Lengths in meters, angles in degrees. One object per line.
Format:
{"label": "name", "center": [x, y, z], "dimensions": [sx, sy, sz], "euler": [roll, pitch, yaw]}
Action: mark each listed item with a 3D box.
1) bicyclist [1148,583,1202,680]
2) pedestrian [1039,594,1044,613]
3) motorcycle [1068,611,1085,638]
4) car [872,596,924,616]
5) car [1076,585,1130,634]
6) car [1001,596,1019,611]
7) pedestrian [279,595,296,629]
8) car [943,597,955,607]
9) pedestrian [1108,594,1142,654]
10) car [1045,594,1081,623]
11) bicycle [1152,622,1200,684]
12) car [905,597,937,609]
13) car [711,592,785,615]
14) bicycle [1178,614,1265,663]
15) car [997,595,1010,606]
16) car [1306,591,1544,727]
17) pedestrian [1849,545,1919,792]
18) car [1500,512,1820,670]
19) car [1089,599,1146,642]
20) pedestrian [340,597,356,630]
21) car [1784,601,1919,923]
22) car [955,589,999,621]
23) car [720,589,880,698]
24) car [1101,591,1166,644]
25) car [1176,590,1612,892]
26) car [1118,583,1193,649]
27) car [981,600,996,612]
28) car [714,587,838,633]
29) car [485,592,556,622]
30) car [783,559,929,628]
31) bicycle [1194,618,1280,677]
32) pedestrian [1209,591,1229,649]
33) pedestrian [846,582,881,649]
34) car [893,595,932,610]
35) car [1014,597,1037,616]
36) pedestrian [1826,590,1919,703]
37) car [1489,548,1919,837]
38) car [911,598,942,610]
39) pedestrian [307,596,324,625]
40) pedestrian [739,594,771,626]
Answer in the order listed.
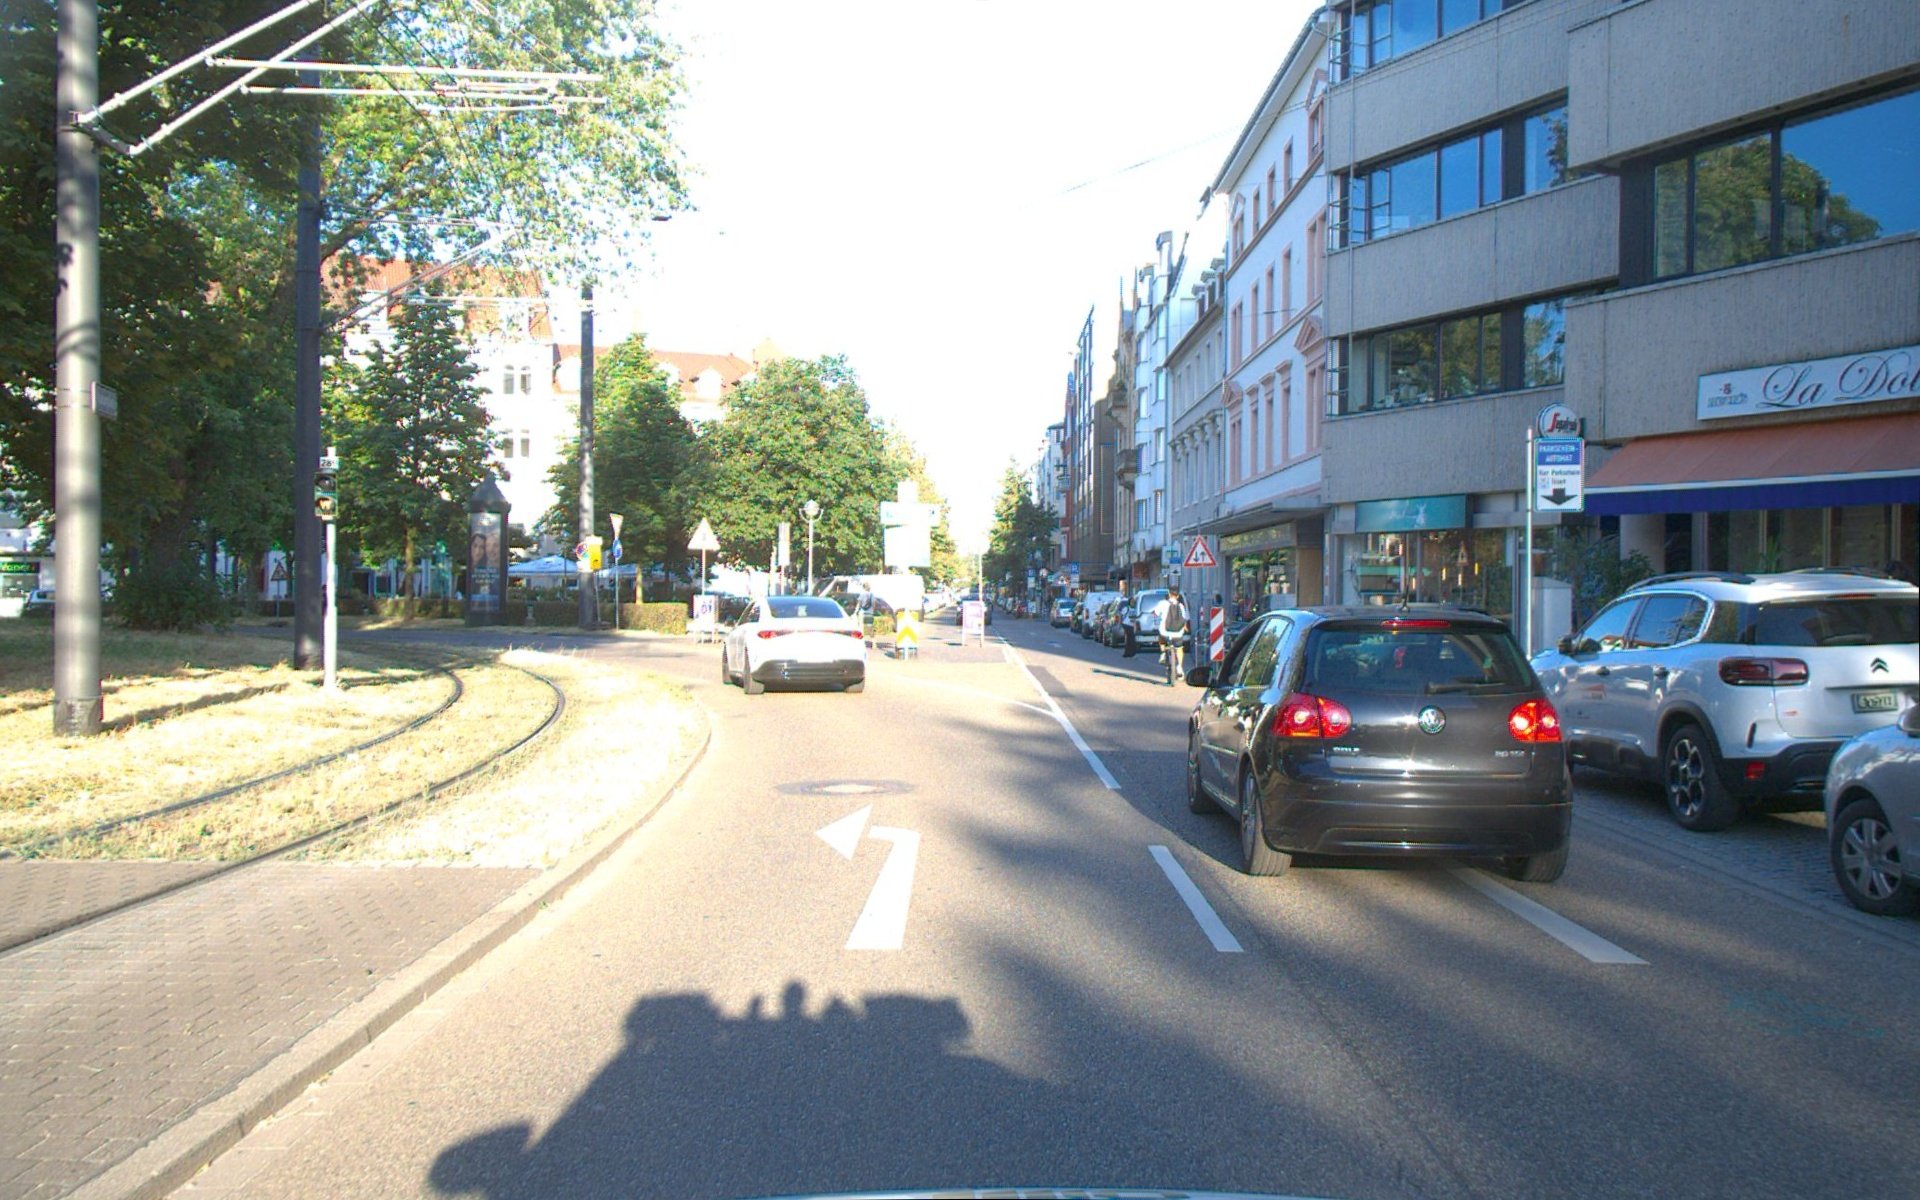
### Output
{"label": "bicyclist", "center": [3.742, 0.533, 28.819], "dimensions": [0.761, 1.646, 1.025], "euler": [1, 0, -1]}
{"label": "pedestrian", "center": [8.613, 0.335, 174.519], "dimensions": [0.520, 1.957, 0.541], "euler": [1, 0, -2]}
{"label": "motorcycle", "center": [5.348, 1.123, 75.891], "dimensions": [0.477, 1.195, 1.605], "euler": [-2, 1, -7]}
{"label": "car", "center": [-4.331, 0.411, 115.134], "dimensions": [3.322, 1.310, 1.666], "euler": [1, 0, -16]}
{"label": "car", "center": [5.734, 0.364, 66.787], "dimensions": [1.885, 1.873, 4.018], "euler": [-1, 0, 1]}
{"label": "car", "center": [5.229, 0.394, 172.578], "dimensions": [1.716, 1.537, 3.544], "euler": [-1, 0, -1]}
{"label": "pedestrian", "center": [-31.035, 0.548, 76.338], "dimensions": [0.524, 1.524, 0.659], "euler": [1, 0, -7]}
{"label": "car", "center": [-1.525, 0.308, 234.637], "dimensions": [1.632, 1.310, 3.390], "euler": [1, 1, 1]}
{"label": "pedestrian", "center": [4.404, 0.634, 44.167], "dimensions": [0.721, 1.582, 0.631], "euler": [1, 0, 27]}
{"label": "car", "center": [5.759, 0.460, 92.850], "dimensions": [1.716, 1.537, 3.544], "euler": [-1, 0, -1]}
{"label": "bicycle", "center": [3.759, 0.912, 28.873], "dimensions": [0.567, 1.004, 1.935], "euler": [1, 0, 0]}
{"label": "car", "center": [-4.443, 0.367, 187.497], "dimensions": [3.322, 1.310, 1.666], "euler": [1, 0, -16]}
{"label": "car", "center": [-12.365, 0.202, 96.491], "dimensions": [3.933, 1.324, 1.840], "euler": [1, 0, -23]}
{"label": "bicycle", "center": [5.896, 0.878, 37.331], "dimensions": [1.812, 1.063, 0.580], "euler": [-1, 1, 31]}
{"label": "car", "center": [6.456, 0.063, 245.675], "dimensions": [1.716, 1.537, 3.544], "euler": [-1, 0, -1]}
{"label": "car", "center": [5.630, 0.653, 20.493], "dimensions": [1.629, 1.466, 3.820], "euler": [-2, 0, -4]}
{"label": "pedestrian", "center": [7.124, 0.488, 12.345], "dimensions": [0.567, 1.790, 0.662], "euler": [-2, 0, 1]}
{"label": "car", "center": [11.960, -0.185, 28.200], "dimensions": [5.251, 2.485, 2.075], "euler": [-1, 0, -26]}
{"label": "car", "center": [5.692, 0.716, 60.207], "dimensions": [1.699, 1.488, 3.585], "euler": [-1, 0, 0]}
{"label": "pedestrian", "center": [-28.359, 0.622, 76.636], "dimensions": [0.524, 1.524, 0.659], "euler": [1, 0, -7]}
{"label": "car", "center": [5.264, 0.750, 7.009], "dimensions": [1.628, 1.466, 3.855], "euler": [-2, 0, 1]}
{"label": "car", "center": [1.019, 0.265, 96.550], "dimensions": [1.951, 1.803, 4.004], "euler": [1, 1, 9]}
{"label": "car", "center": [-2.604, 0.611, 26.073], "dimensions": [1.834, 1.466, 4.180], "euler": [-1, 2, -15]}
{"label": "car", "center": [5.655, 0.562, 54.222], "dimensions": [1.699, 1.645, 3.916], "euler": [-1, 0, 0]}
{"label": "car", "center": [2.443, 0.698, 10.347], "dimensions": [1.711, 1.486, 4.104], "euler": [1, 0, 1]}
{"label": "car", "center": [5.723, 0.443, 48.792], "dimensions": [1.699, 1.831, 3.916], "euler": [-1, 0, 0]}
{"label": "car", "center": [3.265, 0.691, 189.754], "dimensions": [1.633, 1.310, 3.388], "euler": [1, 1, -2]}
{"label": "car", "center": [-6.488, 0.348, 58.441], "dimensions": [3.950, 1.579, 1.857], "euler": [1, 0, -33]}
{"label": "car", "center": [-24.134, 0.370, 90.759], "dimensions": [3.563, 1.579, 1.651], "euler": [1, 0, -23]}
{"label": "car", "center": [-4.156, -0.236, 66.184], "dimensions": [5.444, 2.640, 2.136], "euler": [1, 0, -27]}
{"label": "bicycle", "center": [5.578, 0.949, 33.356], "dimensions": [1.573, 1.138, 0.610], "euler": [-1, 1, 34]}
{"label": "pedestrian", "center": [7.509, 0.577, 47.966], "dimensions": [0.491, 1.653, 0.496], "euler": [1, 0, 0]}
{"label": "pedestrian", "center": [-2.564, 0.395, 43.827], "dimensions": [0.843, 1.736, 0.940], "euler": [1, 0, -6]}
{"label": "car", "center": [-4.488, 0.218, 156.185], "dimensions": [3.322, 1.310, 1.666], "euler": [1, 0, -16]}
{"label": "car", "center": [5.549, 0.524, 140.107], "dimensions": [1.716, 1.537, 3.544], "euler": [-1, 0, -1]}
{"label": "pedestrian", "center": [10.894, 0.540, 19.750], "dimensions": [0.757, 1.304, 0.656], "euler": [-1, 0, -29]}
{"label": "car", "center": [5.713, 0.545, 12.487], "dimensions": [1.830, 1.743, 4.503], "euler": [-2, 0, -2]}
{"label": "car", "center": [-3.925, 0.416, 195.381], "dimensions": [3.322, 1.310, 1.666], "euler": [1, 0, -16]}
{"label": "pedestrian", "center": [-31.018, 0.493, 79.577], "dimensions": [0.655, 1.376, 0.658], "euler": [1, 0, -12]}
{"label": "pedestrian", "center": [-8.274, 0.416, 66.740], "dimensions": [1.084, 1.248, 0.853], "euler": [2, 0, -26]}
